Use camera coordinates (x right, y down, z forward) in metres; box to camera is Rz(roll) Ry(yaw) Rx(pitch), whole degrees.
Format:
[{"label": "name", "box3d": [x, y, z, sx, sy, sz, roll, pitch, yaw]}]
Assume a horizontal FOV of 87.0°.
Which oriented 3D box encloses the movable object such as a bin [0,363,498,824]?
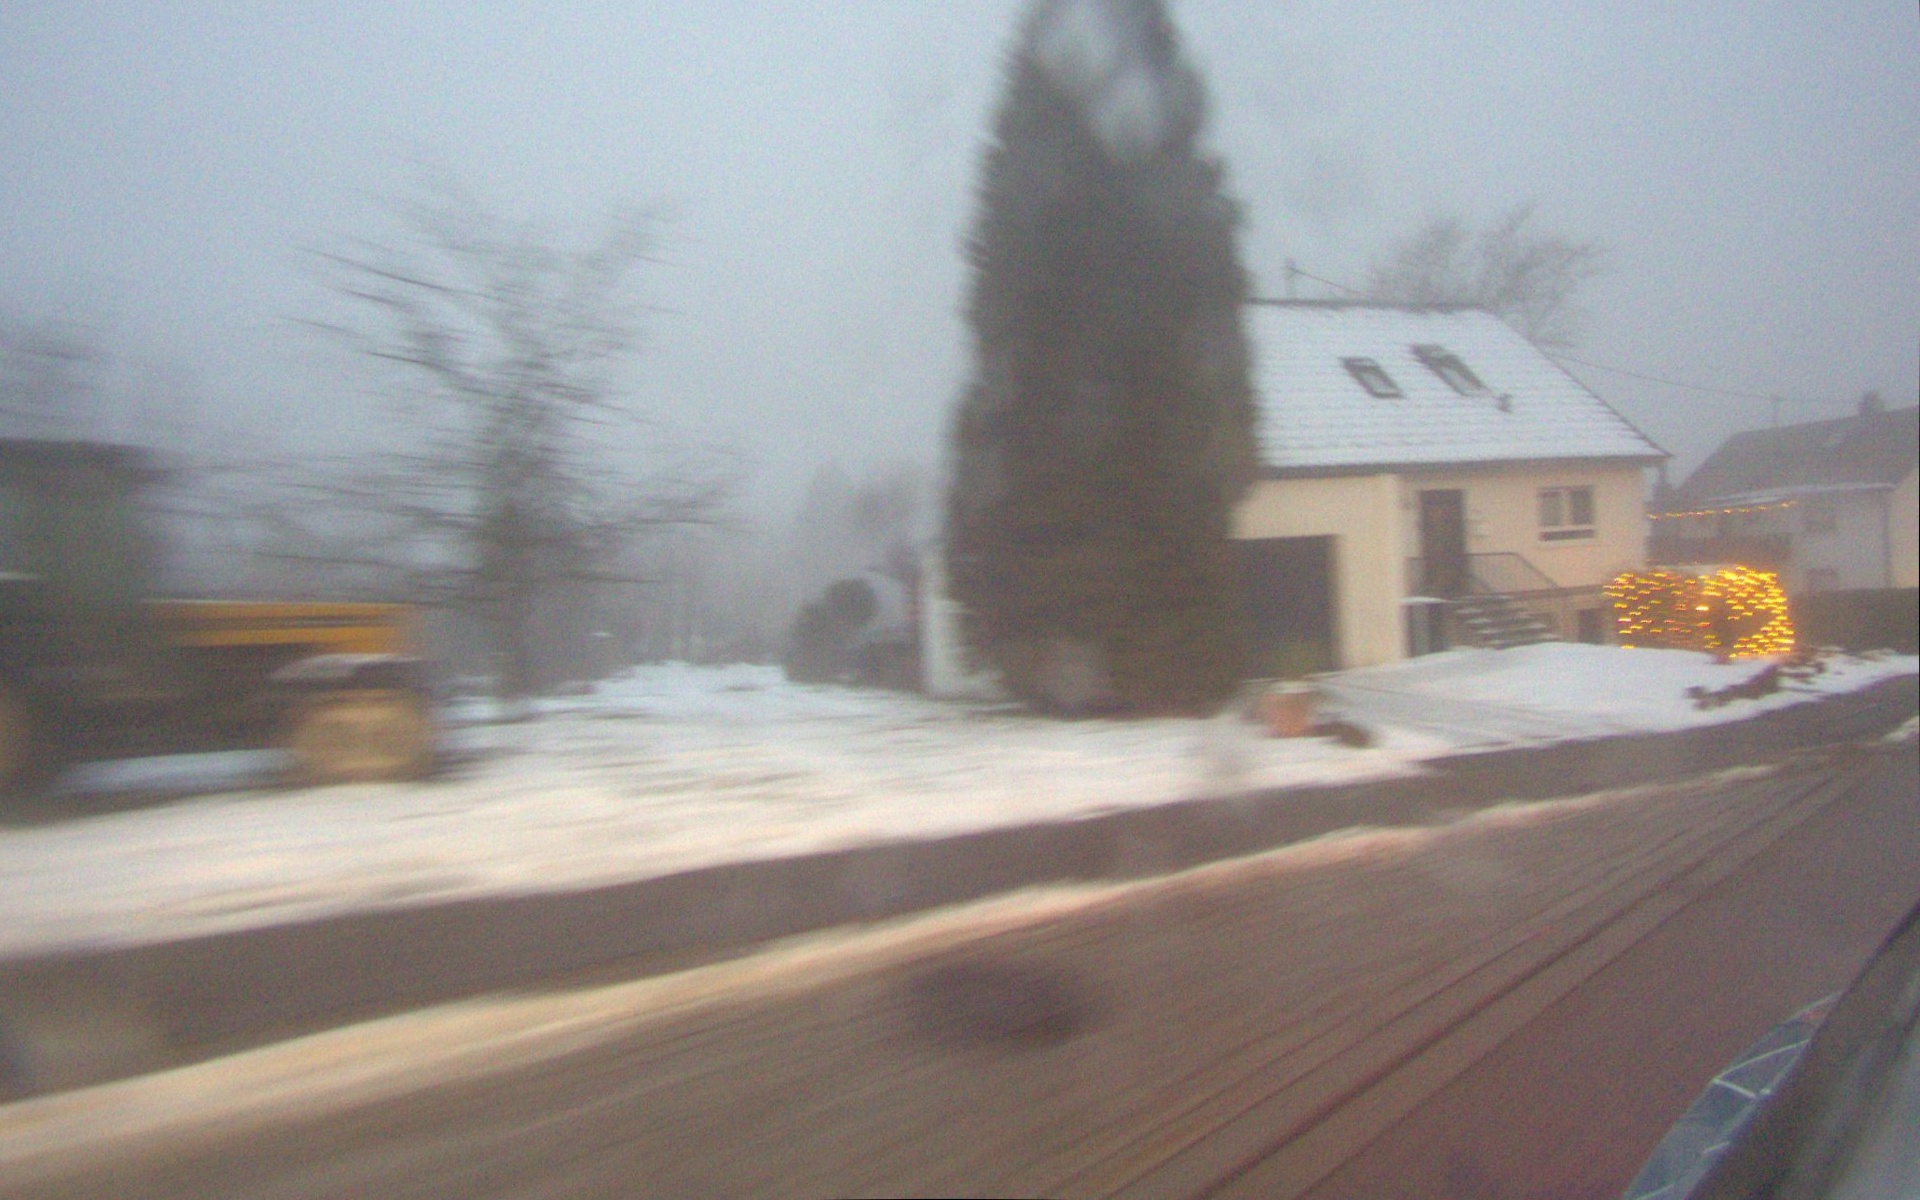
[{"label": "movable object such as a bin", "box3d": [-5.670, -0.043, 6.642, 4.430, 2.499, 2.395, -2, 1, -35]}]
